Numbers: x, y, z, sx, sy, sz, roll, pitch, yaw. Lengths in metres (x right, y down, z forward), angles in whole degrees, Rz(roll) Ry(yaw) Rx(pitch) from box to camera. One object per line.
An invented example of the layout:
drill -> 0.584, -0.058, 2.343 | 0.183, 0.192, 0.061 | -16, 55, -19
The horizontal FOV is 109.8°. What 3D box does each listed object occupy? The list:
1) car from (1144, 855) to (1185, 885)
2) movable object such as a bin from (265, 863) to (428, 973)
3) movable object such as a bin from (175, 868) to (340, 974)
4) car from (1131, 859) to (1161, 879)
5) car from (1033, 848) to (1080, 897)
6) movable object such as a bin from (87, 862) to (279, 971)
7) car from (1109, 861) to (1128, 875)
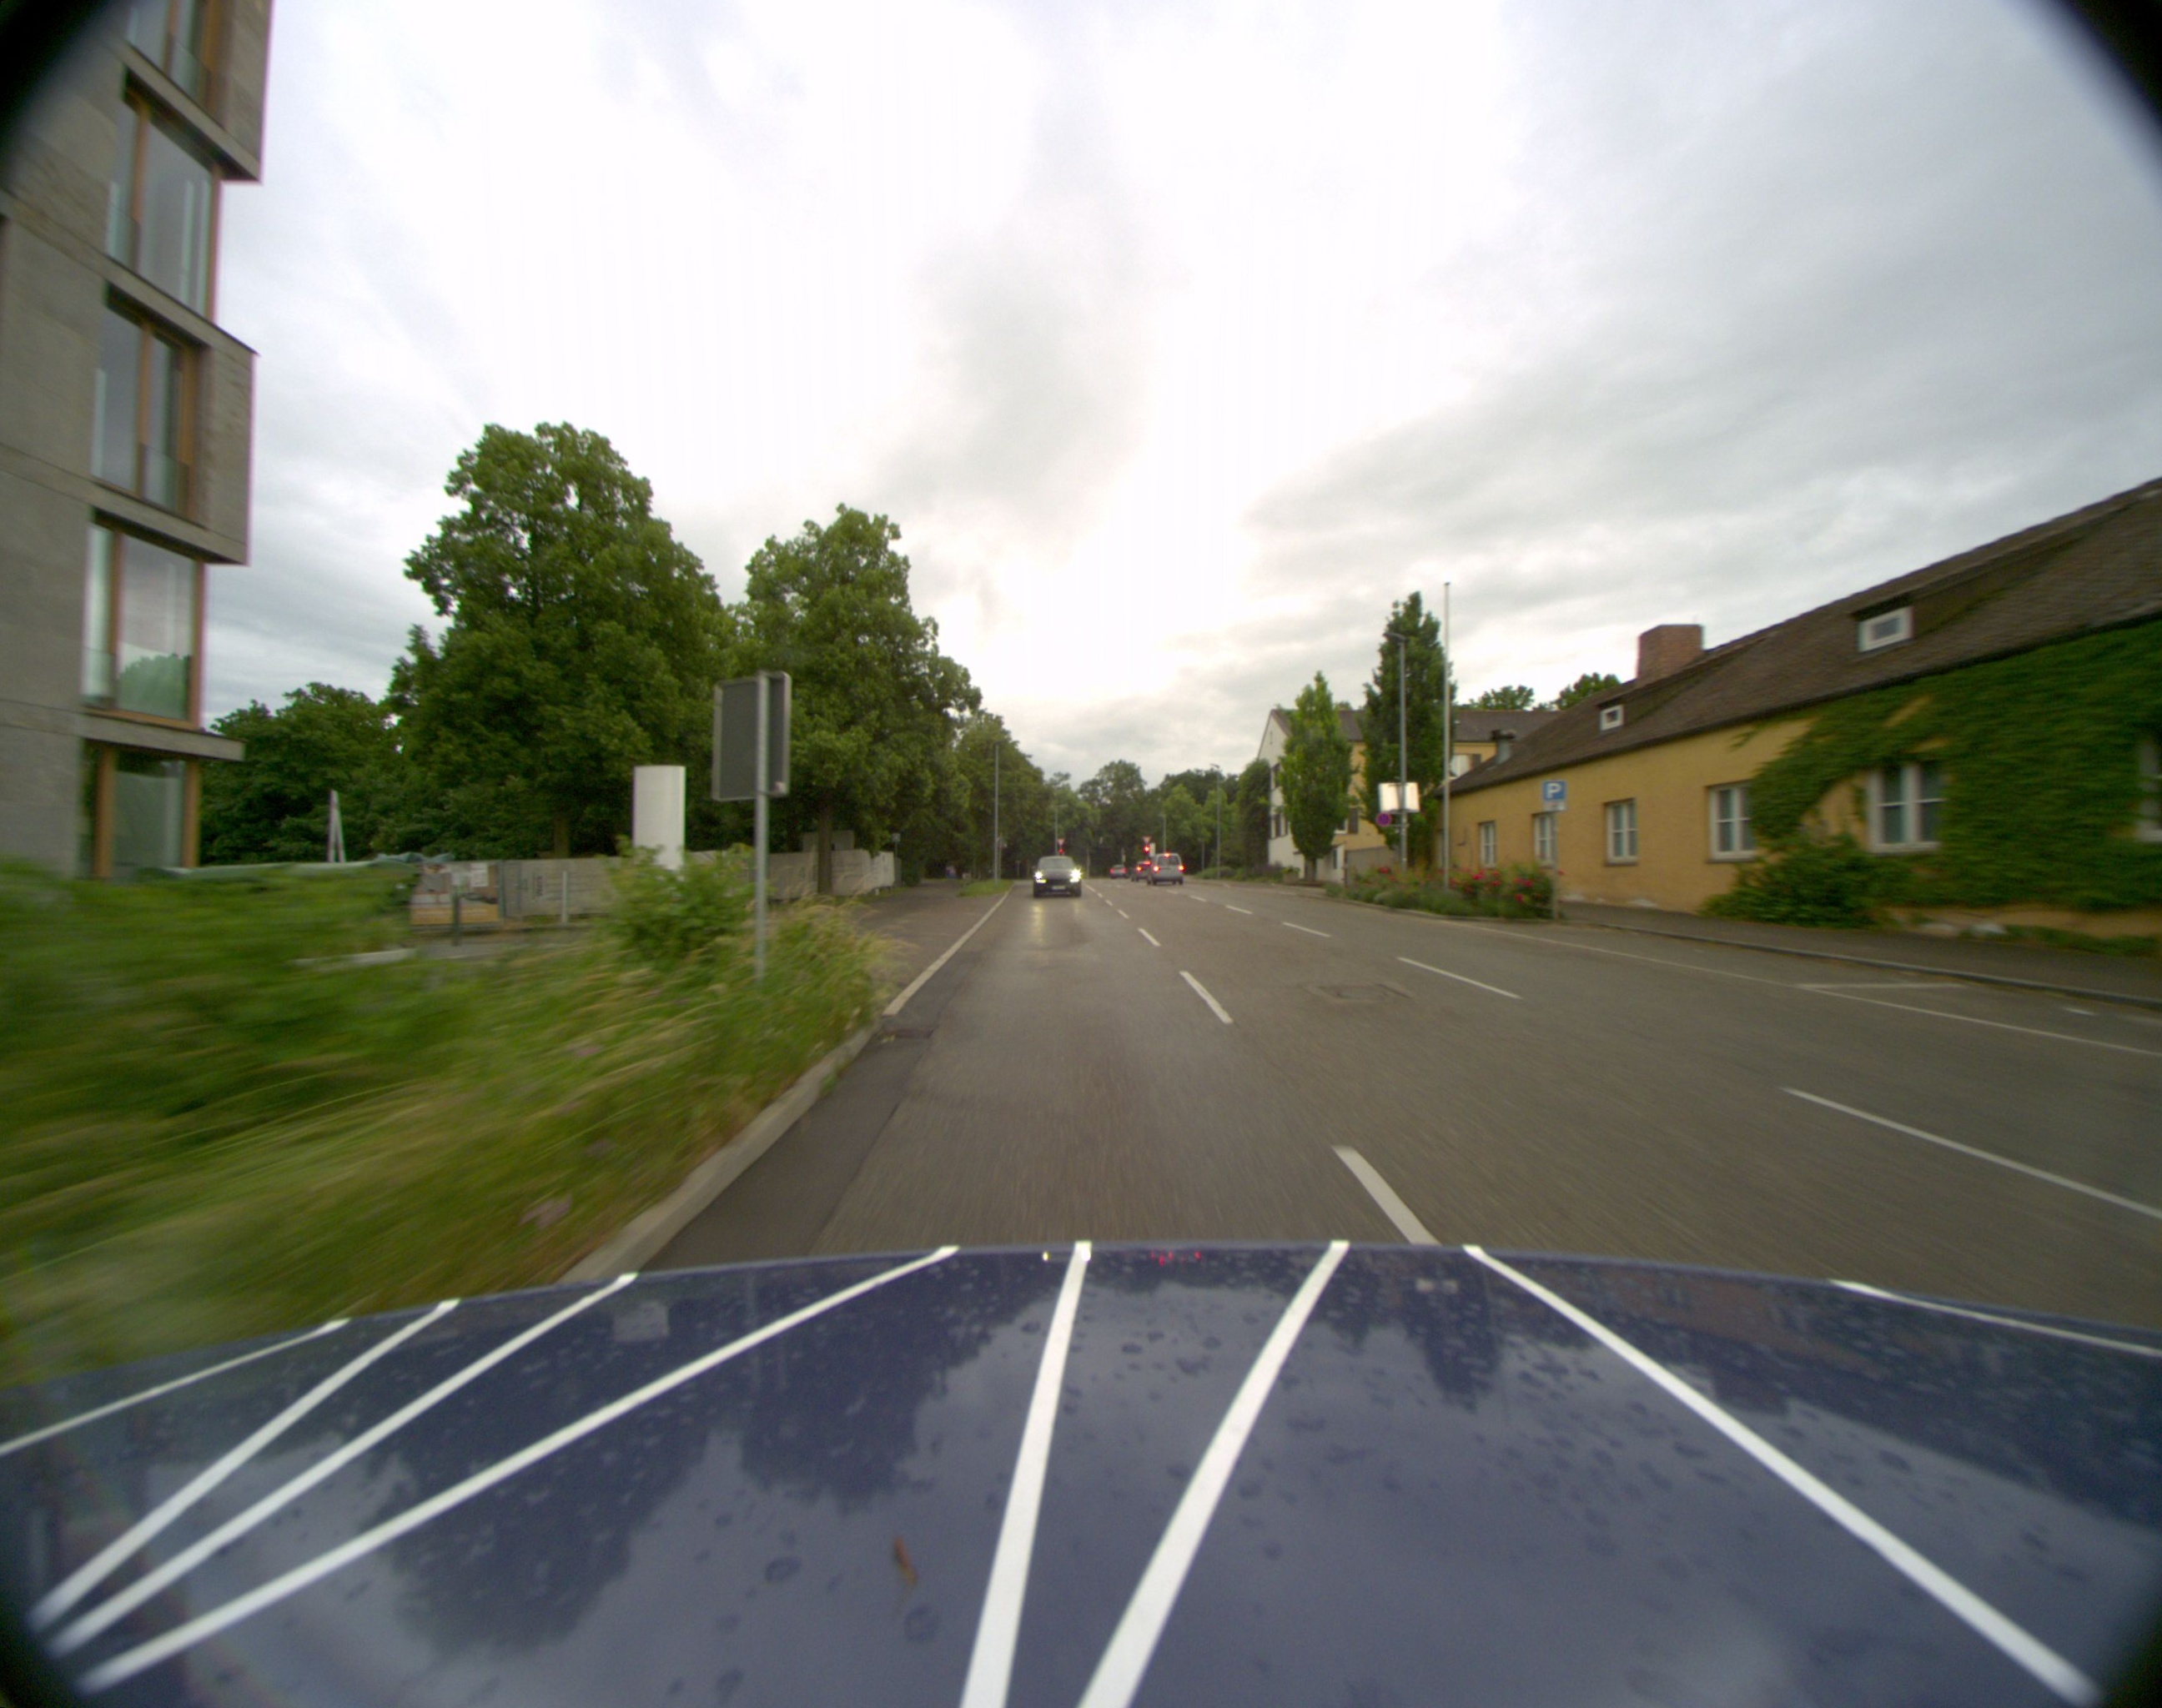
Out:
car -> 4.926, 0.905, 45.366 | 1.899, 1.695, 4.509 | -1, 0, -1
movable object such as a bin -> -10.731, 0.906, 11.156 | 1.249, 1.449, 1.111 | -3, 0, 9
movable object such as a bin -> -12.047, 0.949, 11.168 | 1.100, 1.391, 1.150 | -3, 0, 8
car -> 5.009, 1.140, 58.956 | 1.887, 1.449, 4.468 | -1, 0, -1
car -> -1.009, 0.725, 32.630 | 1.848, 1.961, 4.343 | -1, 0, 0
movable object such as a bin -> -13.317, 0.893, 11.339 | 1.198, 1.495, 1.388 | -1, 1, 7
car -> 4.395, 1.674, 89.324 | 1.925, 1.618, 4.344 | -1, -1, -1
